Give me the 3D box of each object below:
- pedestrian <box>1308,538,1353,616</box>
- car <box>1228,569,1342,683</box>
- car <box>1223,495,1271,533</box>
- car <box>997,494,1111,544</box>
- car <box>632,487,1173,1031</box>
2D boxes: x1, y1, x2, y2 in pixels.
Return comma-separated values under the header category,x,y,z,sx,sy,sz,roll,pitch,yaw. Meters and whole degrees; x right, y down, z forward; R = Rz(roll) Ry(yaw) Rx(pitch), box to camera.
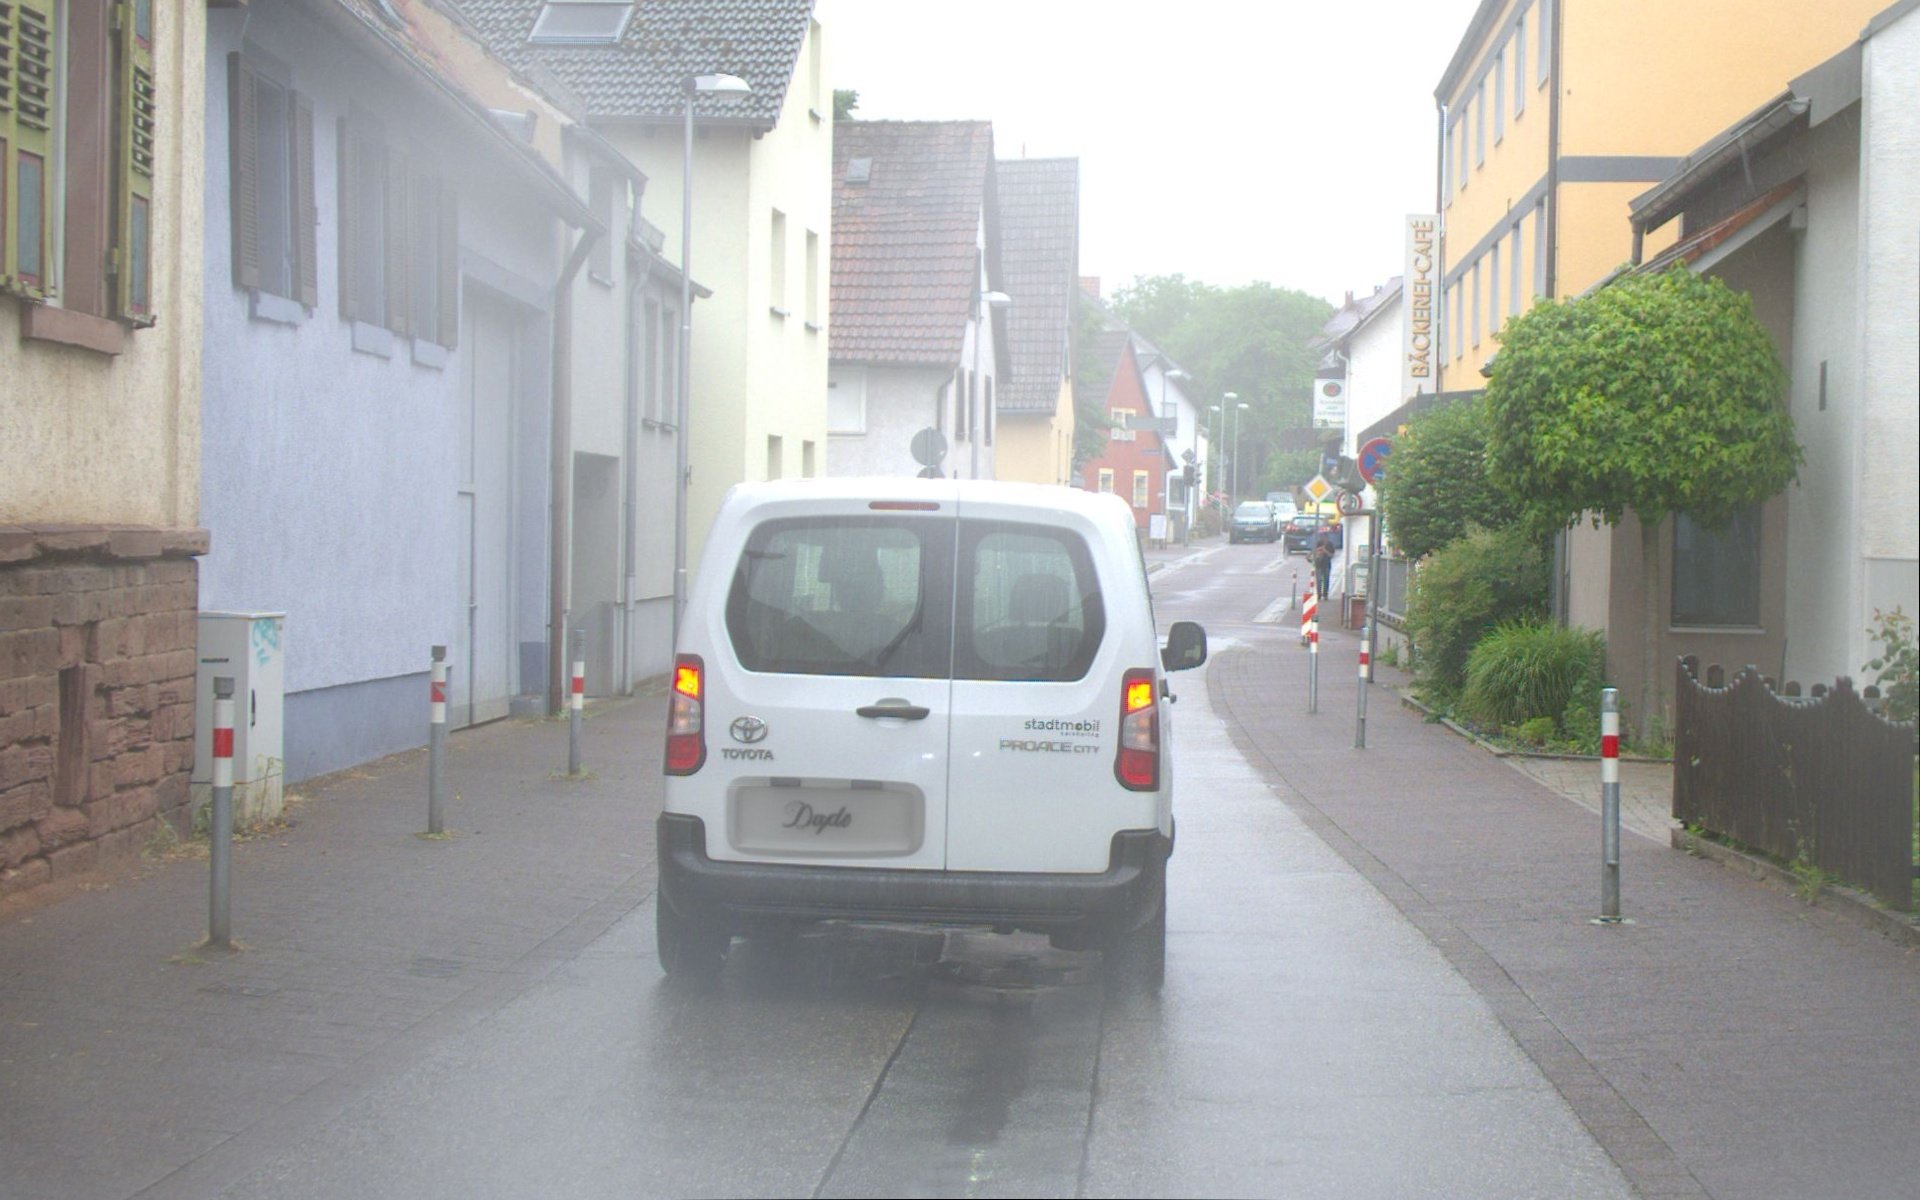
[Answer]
category,x,y,z,sx,sy,sz,roll,pitch,yaw
pedestrian,9.055,-0.560,84.063,1.051,1.886,0.877,0,0,3
car,5.974,0.436,62.975,1.994,2.007,3.999,0,1,6
car,11.955,-3.560,142.996,1.589,1.436,3.764,3,1,10
car,3.271,-2.828,119.585,3.419,1.554,2.001,-3,3,-20
car,-0.070,0.496,13.287,1.775,1.774,4.000,0,1,4
